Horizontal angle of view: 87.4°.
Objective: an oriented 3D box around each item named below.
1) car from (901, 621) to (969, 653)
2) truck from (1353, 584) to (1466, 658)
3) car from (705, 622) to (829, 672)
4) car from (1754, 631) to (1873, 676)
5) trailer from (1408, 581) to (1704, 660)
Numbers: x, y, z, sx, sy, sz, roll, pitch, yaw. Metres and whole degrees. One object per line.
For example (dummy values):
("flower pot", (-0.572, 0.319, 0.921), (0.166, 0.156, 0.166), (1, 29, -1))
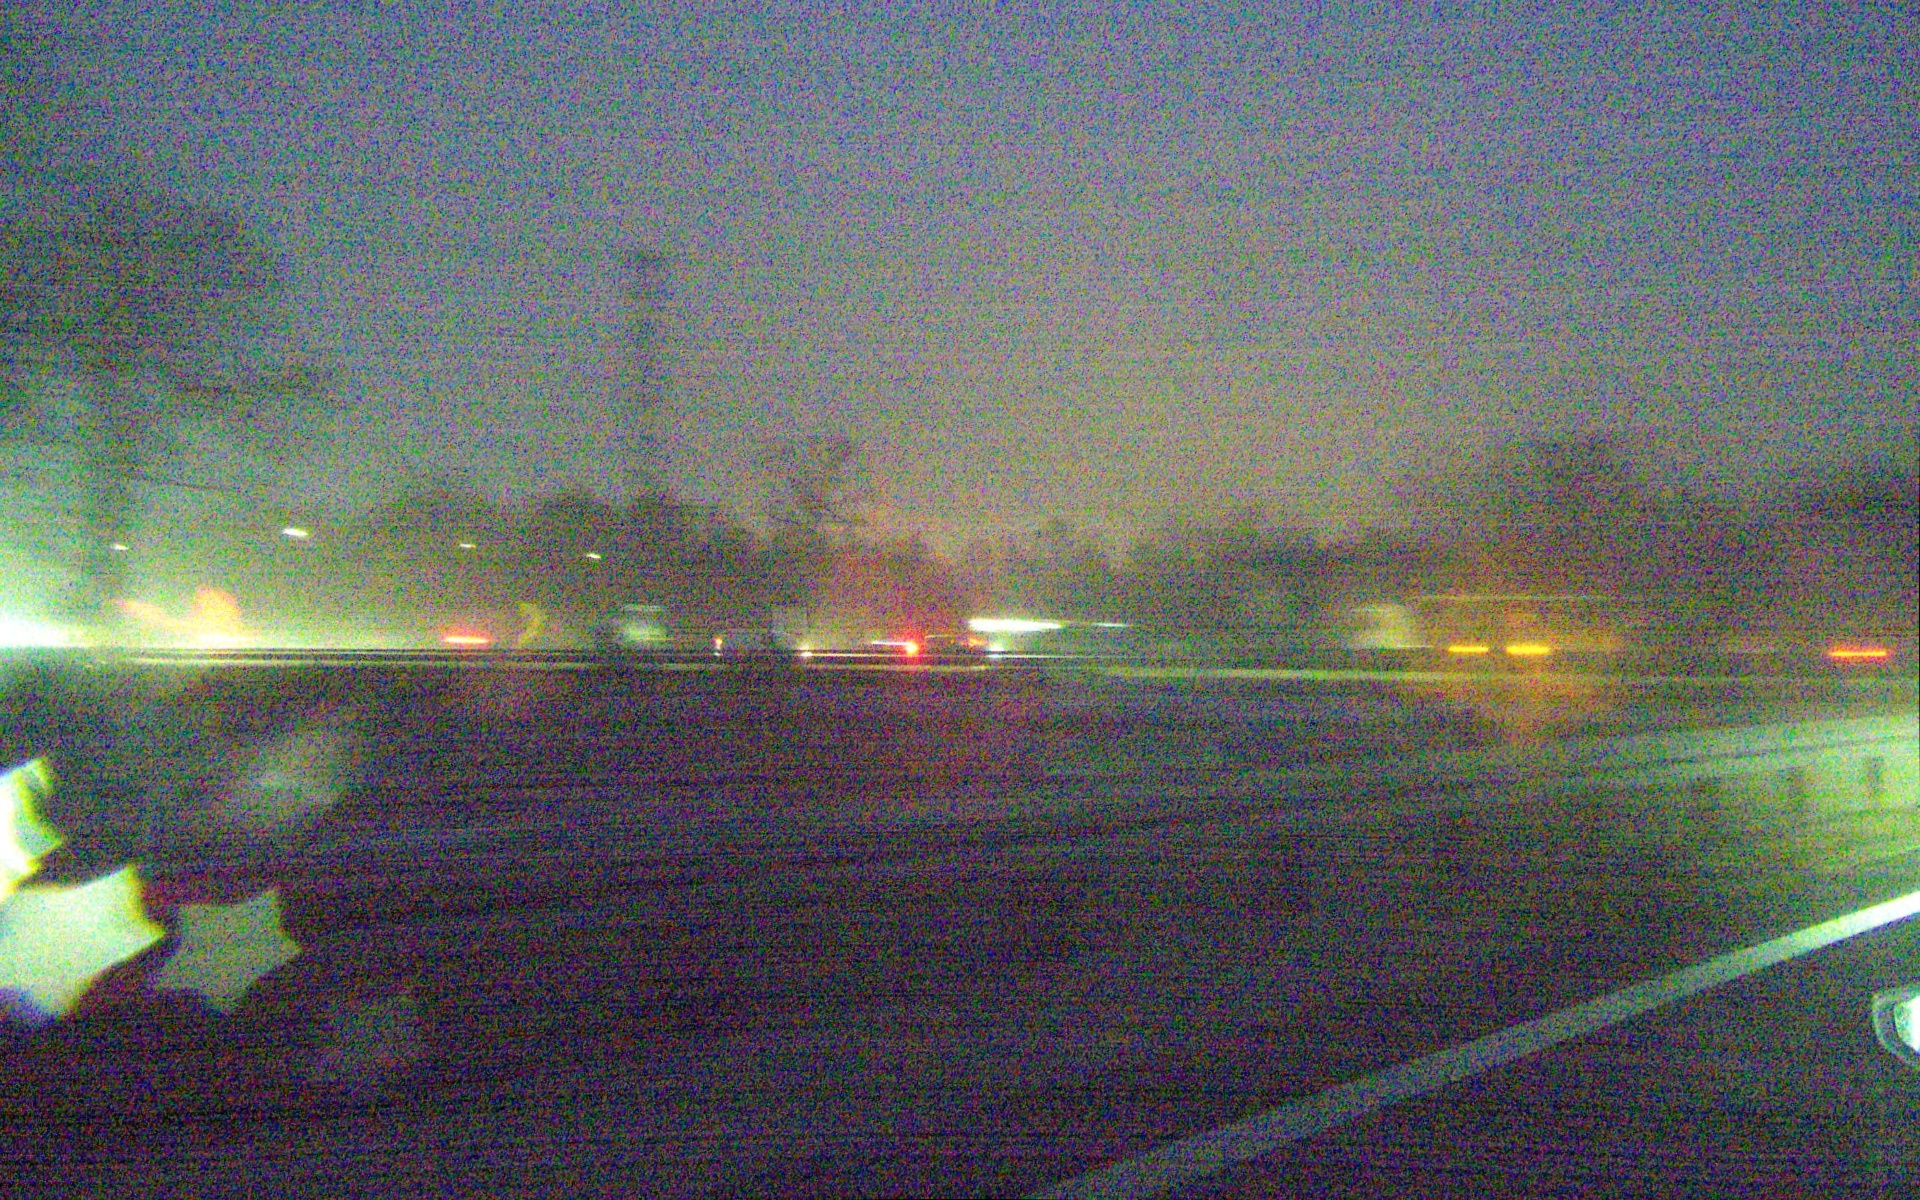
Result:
("car", (-1.564, 2.332, 63.469), (3.920, 1.929, 1.921), (0, 0, 16))
("truck", (25.658, 1.182, 57.626), (5.634, 4.083, 2.780), (0, 0, 17))
("car", (-8.409, 2.018, 43.848), (4.916, 2.040, 2.001), (0, 0, 16))
("car", (41.379, 2.554, 48.791), (3.920, 2.040, 2.001), (0, 0, 16))
("trailer", (32.429, 1.132, 55.481), (13.735, 4.083, 2.780), (0, 0, 18))
